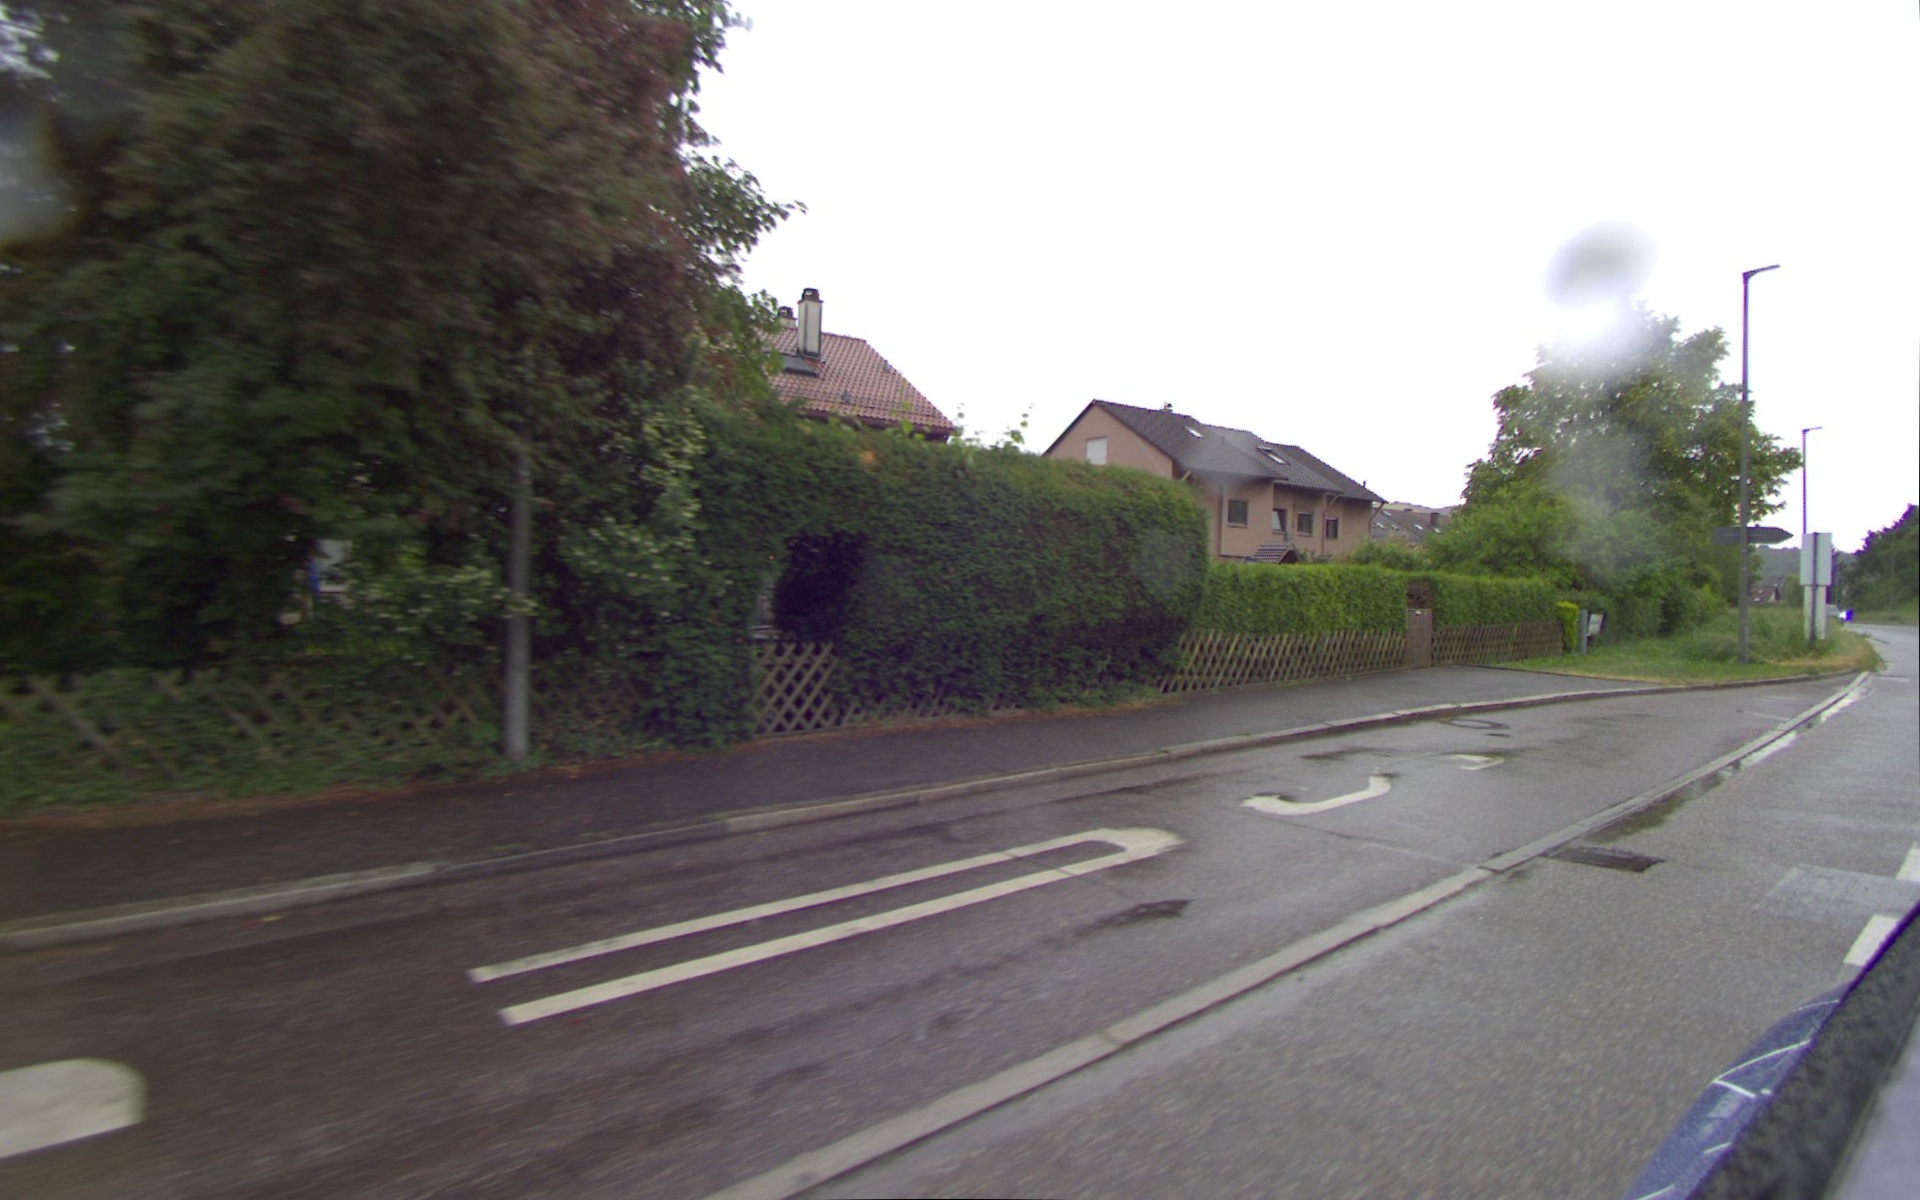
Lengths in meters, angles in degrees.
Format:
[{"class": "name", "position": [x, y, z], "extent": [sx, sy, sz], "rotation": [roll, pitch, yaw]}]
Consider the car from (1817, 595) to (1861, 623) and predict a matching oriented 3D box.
[{"class": "car", "position": [62.753, 0.621, 72.326], "extent": [1.988, 1.865, 3.948], "rotation": [2, 1, 36]}]
